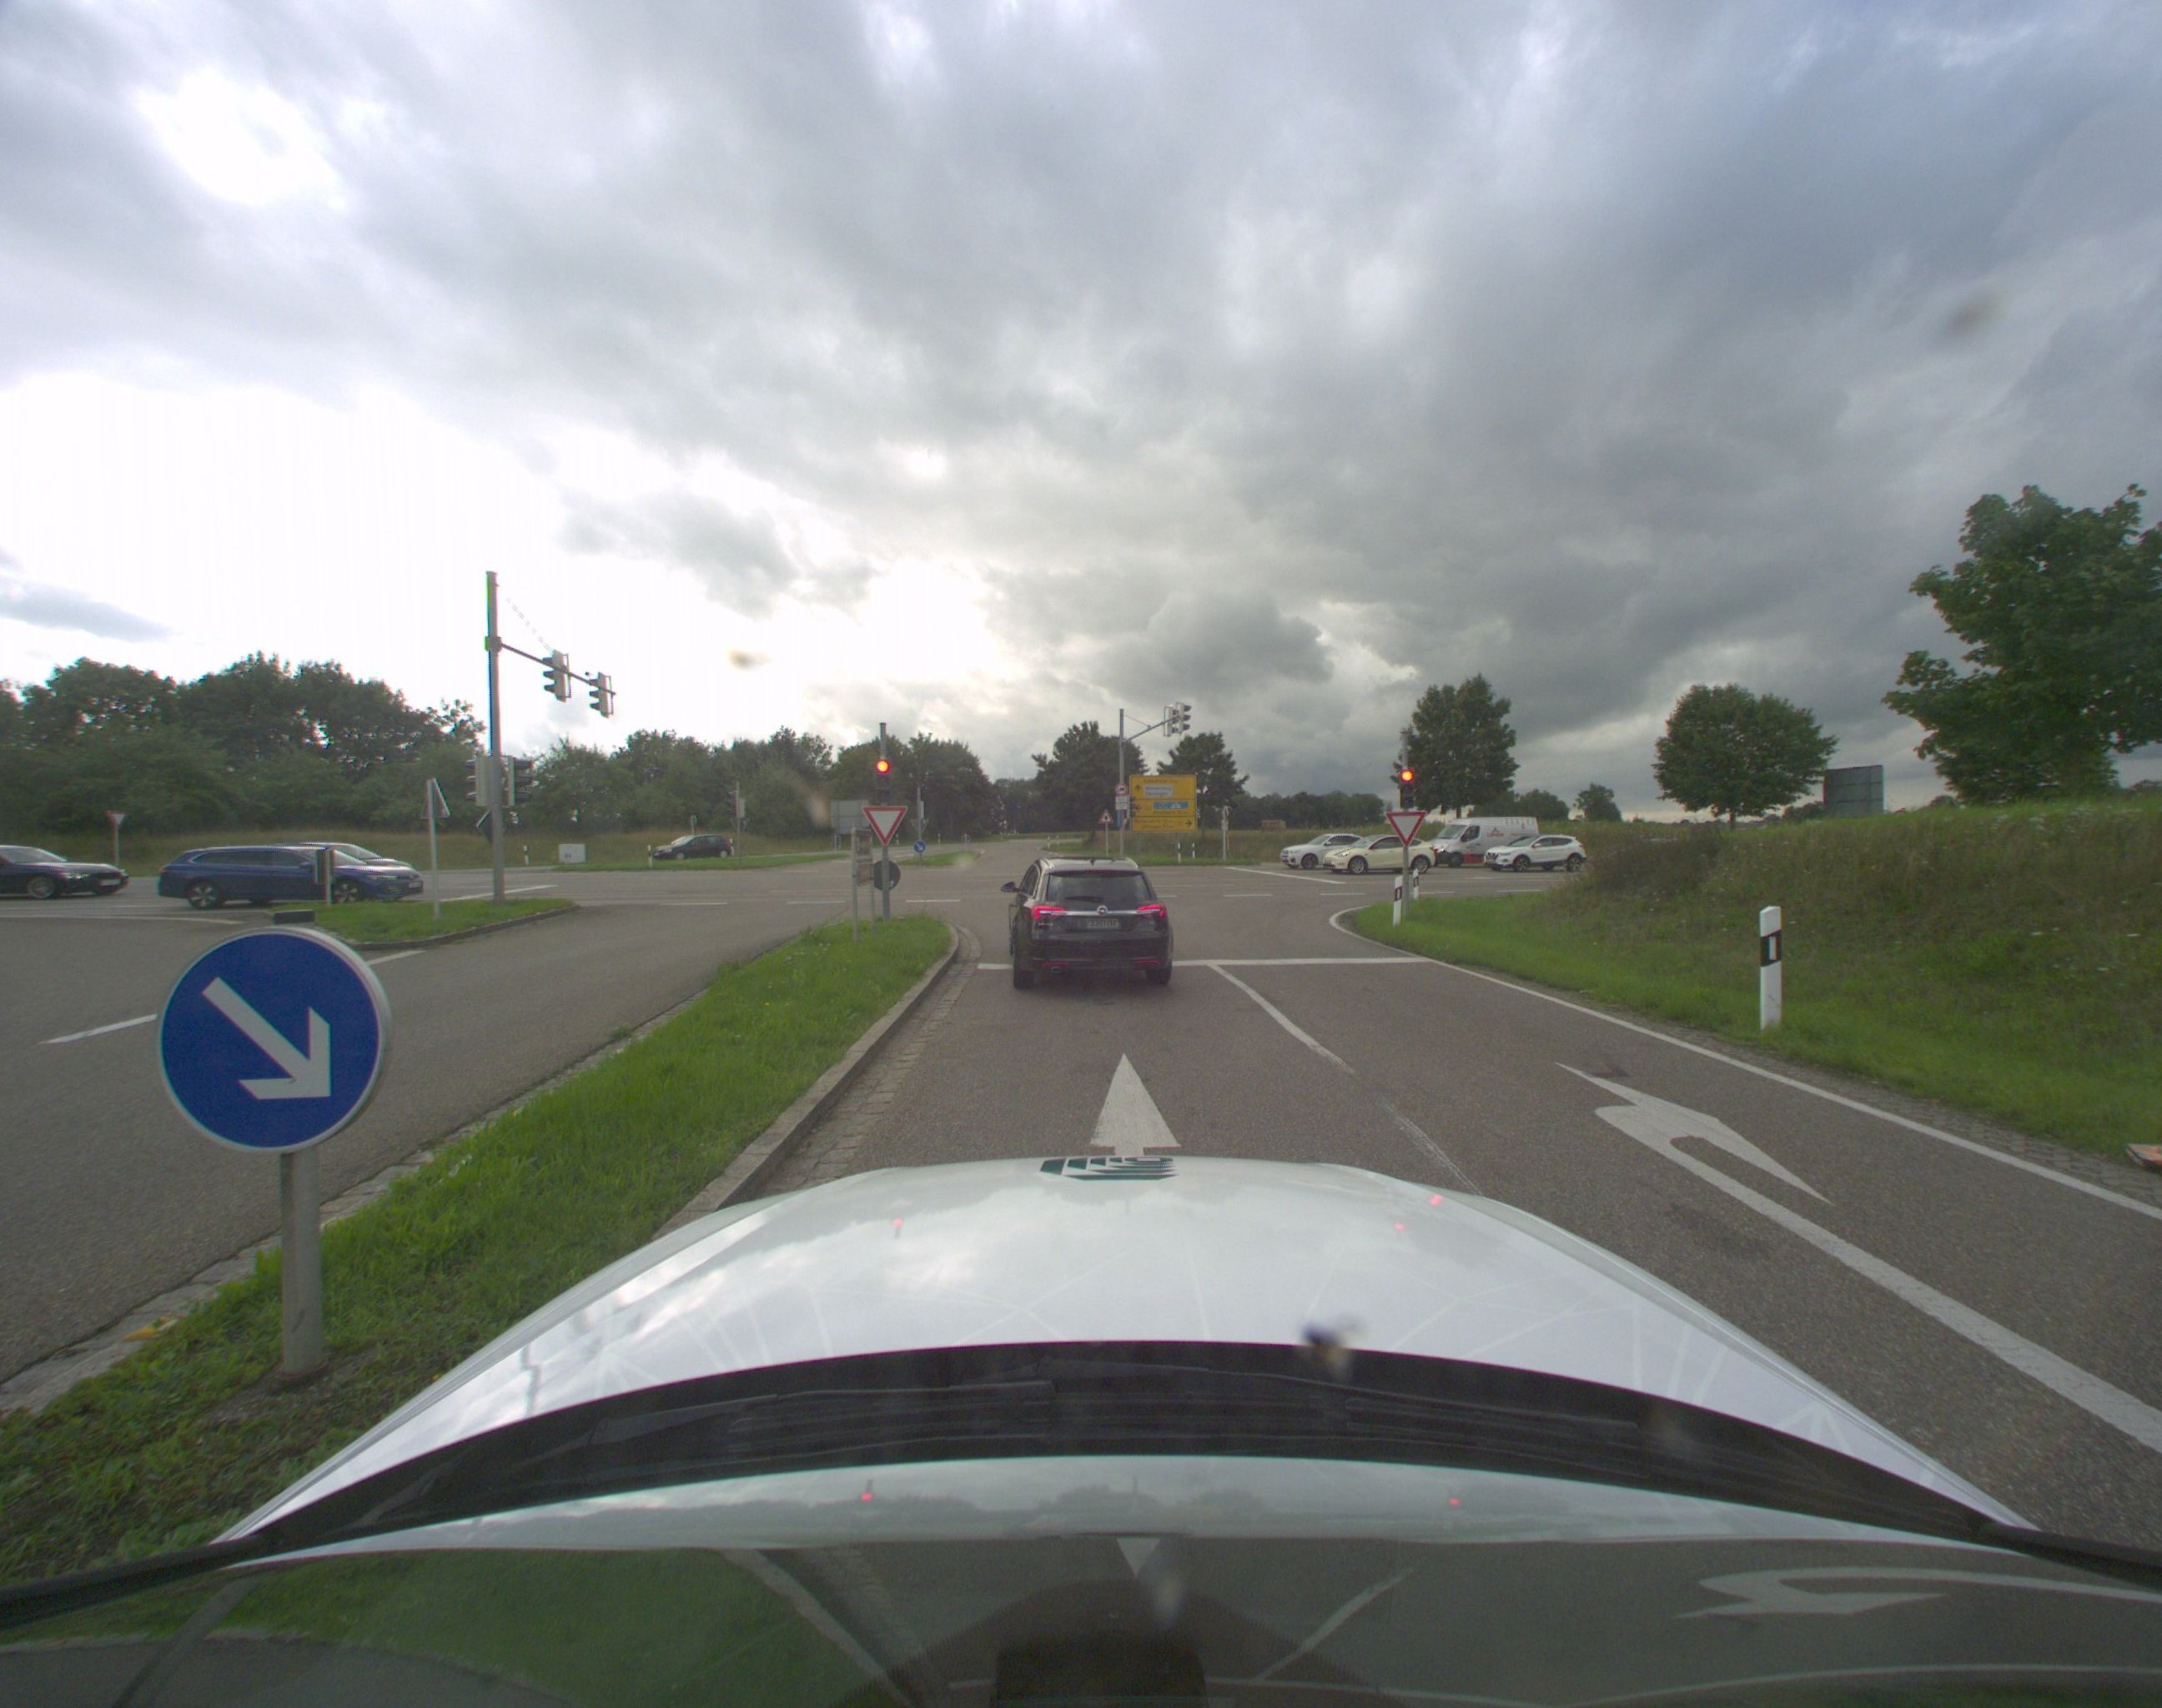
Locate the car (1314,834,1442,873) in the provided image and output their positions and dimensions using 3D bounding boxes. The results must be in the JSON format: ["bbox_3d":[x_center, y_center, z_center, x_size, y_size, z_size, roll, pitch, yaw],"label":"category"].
[{"bbox_3d":[12.452,-0.041,34.274,4.734,1.564,1.993,0,0,-11],"label":"car"}]

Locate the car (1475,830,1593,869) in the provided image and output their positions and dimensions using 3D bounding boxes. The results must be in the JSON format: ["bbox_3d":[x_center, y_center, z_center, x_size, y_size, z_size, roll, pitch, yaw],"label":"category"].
[{"bbox_3d":[19.932,-0.210,35.919,4.309,1.629,1.993,0,0,-10],"label":"car"}]

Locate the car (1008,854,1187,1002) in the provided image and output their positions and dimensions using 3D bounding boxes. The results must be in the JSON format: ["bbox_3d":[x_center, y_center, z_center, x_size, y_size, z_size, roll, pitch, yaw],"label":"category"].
[{"bbox_3d":[-0.011,0.751,10.478,1.805,1.450,4.264,0,0,-6],"label":"car"}]

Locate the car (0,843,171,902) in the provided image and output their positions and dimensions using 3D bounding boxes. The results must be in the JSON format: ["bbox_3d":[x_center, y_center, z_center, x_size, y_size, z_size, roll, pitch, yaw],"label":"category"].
[{"bbox_3d":[-28.743,0.470,22.210,4.869,1.483,2.047,0,3,-12],"label":"car"}]

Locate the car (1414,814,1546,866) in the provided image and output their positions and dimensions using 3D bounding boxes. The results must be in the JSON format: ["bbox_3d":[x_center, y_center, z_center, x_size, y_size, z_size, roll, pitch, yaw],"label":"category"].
[{"bbox_3d":[19.497,-0.683,39.949,5.494,2.441,2.390,0,0,-10],"label":"car"}]

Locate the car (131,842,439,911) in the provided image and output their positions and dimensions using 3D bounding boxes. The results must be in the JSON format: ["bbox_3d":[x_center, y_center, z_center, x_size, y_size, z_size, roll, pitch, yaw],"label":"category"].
[{"bbox_3d":[-19.554,0.506,20.317,5.115,1.534,2.043,-1,2,-13],"label":"car"}]

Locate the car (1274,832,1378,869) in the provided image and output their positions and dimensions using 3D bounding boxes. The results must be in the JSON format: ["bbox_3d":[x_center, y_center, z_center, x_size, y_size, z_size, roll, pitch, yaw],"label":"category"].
[{"bbox_3d":[11.410,-0.171,38.054,4.262,1.629,1.993,0,0,-11],"label":"car"}]
